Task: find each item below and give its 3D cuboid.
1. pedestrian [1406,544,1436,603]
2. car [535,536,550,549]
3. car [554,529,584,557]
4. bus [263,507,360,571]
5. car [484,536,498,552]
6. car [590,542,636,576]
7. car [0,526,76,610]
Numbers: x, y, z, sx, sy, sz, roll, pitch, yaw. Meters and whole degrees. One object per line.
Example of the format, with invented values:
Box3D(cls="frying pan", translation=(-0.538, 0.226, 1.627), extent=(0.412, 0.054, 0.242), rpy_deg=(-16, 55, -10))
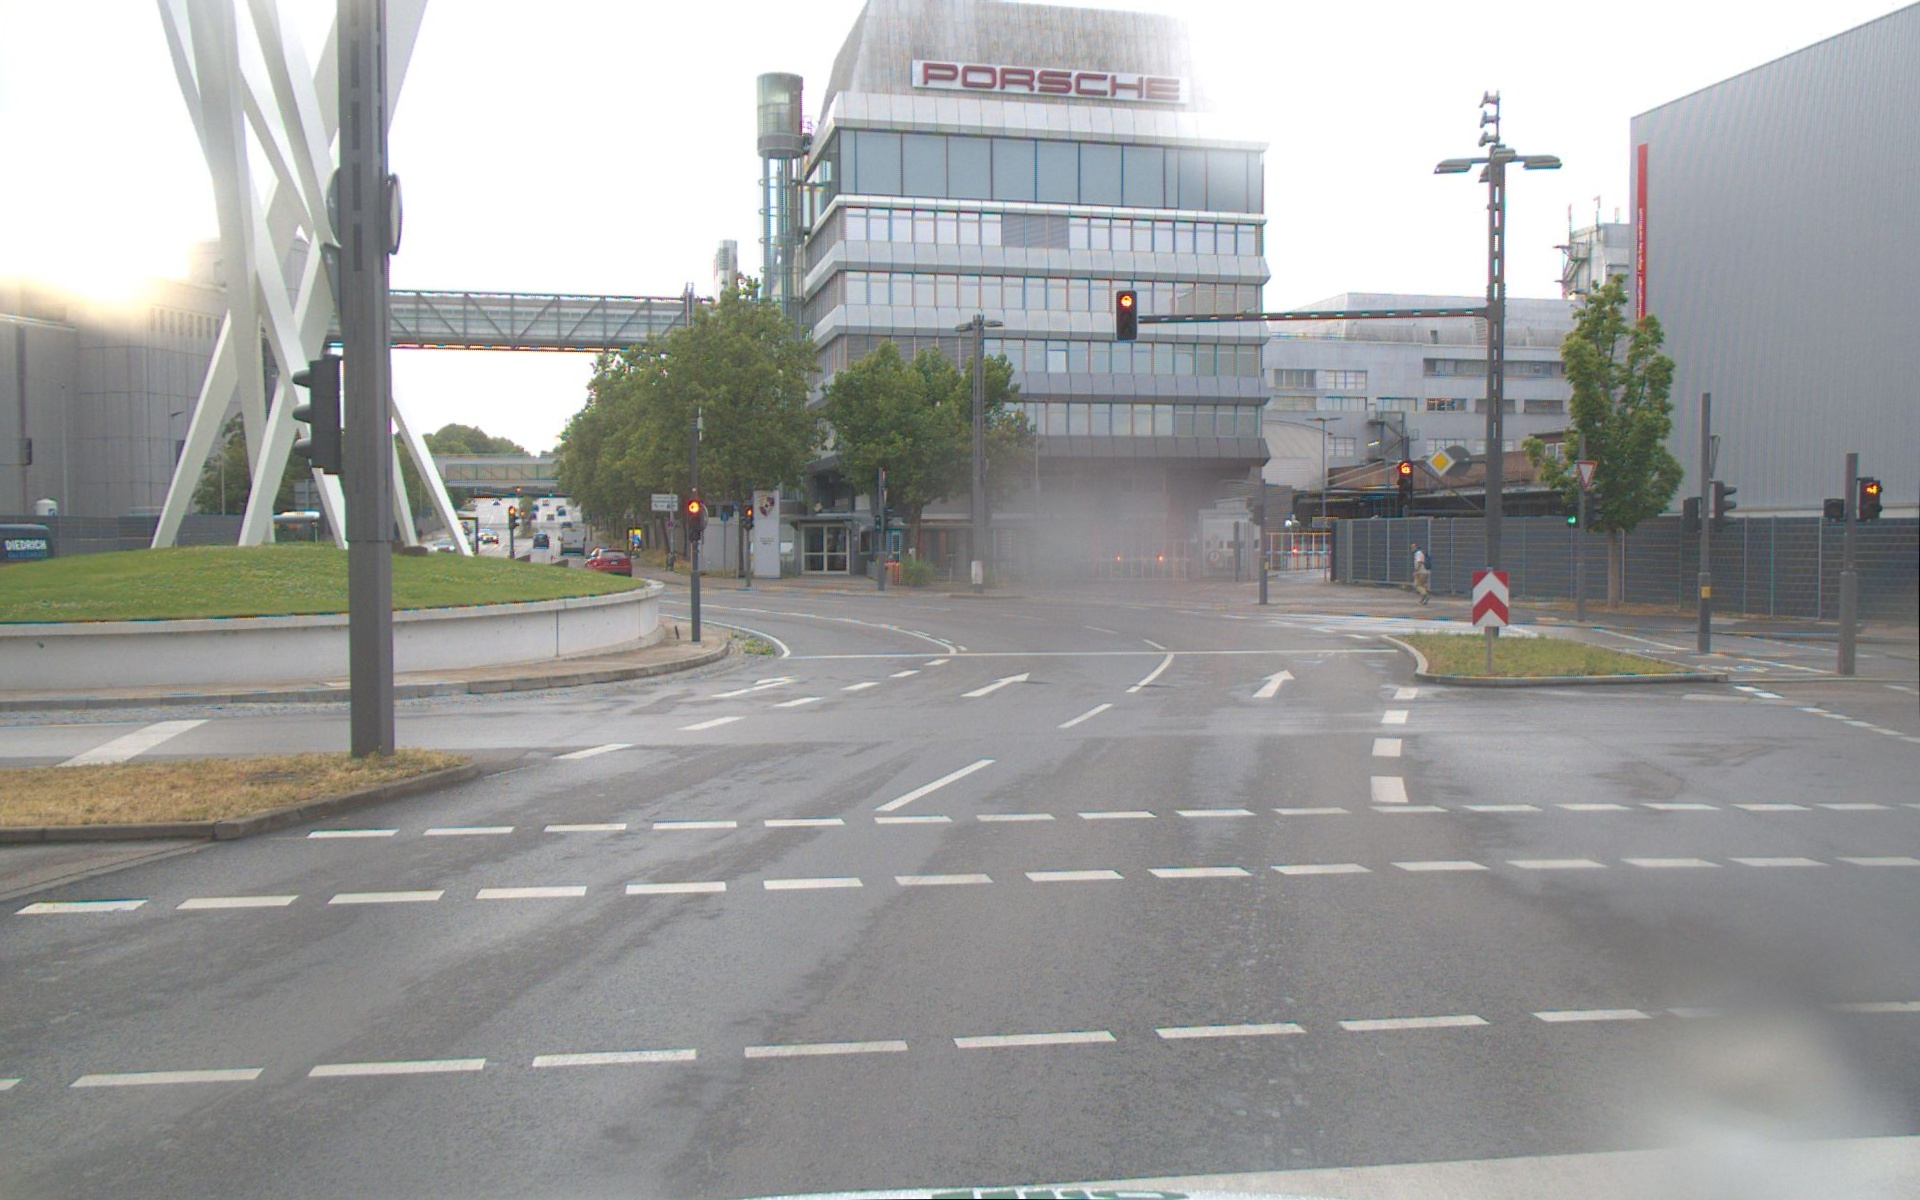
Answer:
Box3D(cls="pedestrian", translation=(13.029, -0.735, 46.746), extent=(0.791, 1.639, 0.770), rpy_deg=(-1, -1, 16))
Box3D(cls="car", translation=(-44.090, -6.061, 174.696), extent=(1.531, 1.311, 3.400), rpy_deg=(0, 0, -15))
Box3D(cls="car", translation=(-33.721, -4.906, 142.520), extent=(2.198, 2.144, 4.929), rpy_deg=(0, -1, -18))
Box3D(cls="bus", translation=(-36.104, -3.302, 92.549), extent=(2.621, 3.256, 12.638), rpy_deg=(0, 1, -10))
Box3D(cls="car", translation=(-55.174, -6.574, 194.594), extent=(1.600, 1.848, 3.718), rpy_deg=(0, 1, -15))
Box3D(cls="car", translation=(-16.227, -1.897, 77.221), extent=(1.745, 1.490, 3.713), rpy_deg=(0, 0, -18))
Box3D(cls="car", translation=(-33.963, -1.110, 57.882), extent=(1.925, 2.869, 7.131), rpy_deg=(0, 1, 3))
